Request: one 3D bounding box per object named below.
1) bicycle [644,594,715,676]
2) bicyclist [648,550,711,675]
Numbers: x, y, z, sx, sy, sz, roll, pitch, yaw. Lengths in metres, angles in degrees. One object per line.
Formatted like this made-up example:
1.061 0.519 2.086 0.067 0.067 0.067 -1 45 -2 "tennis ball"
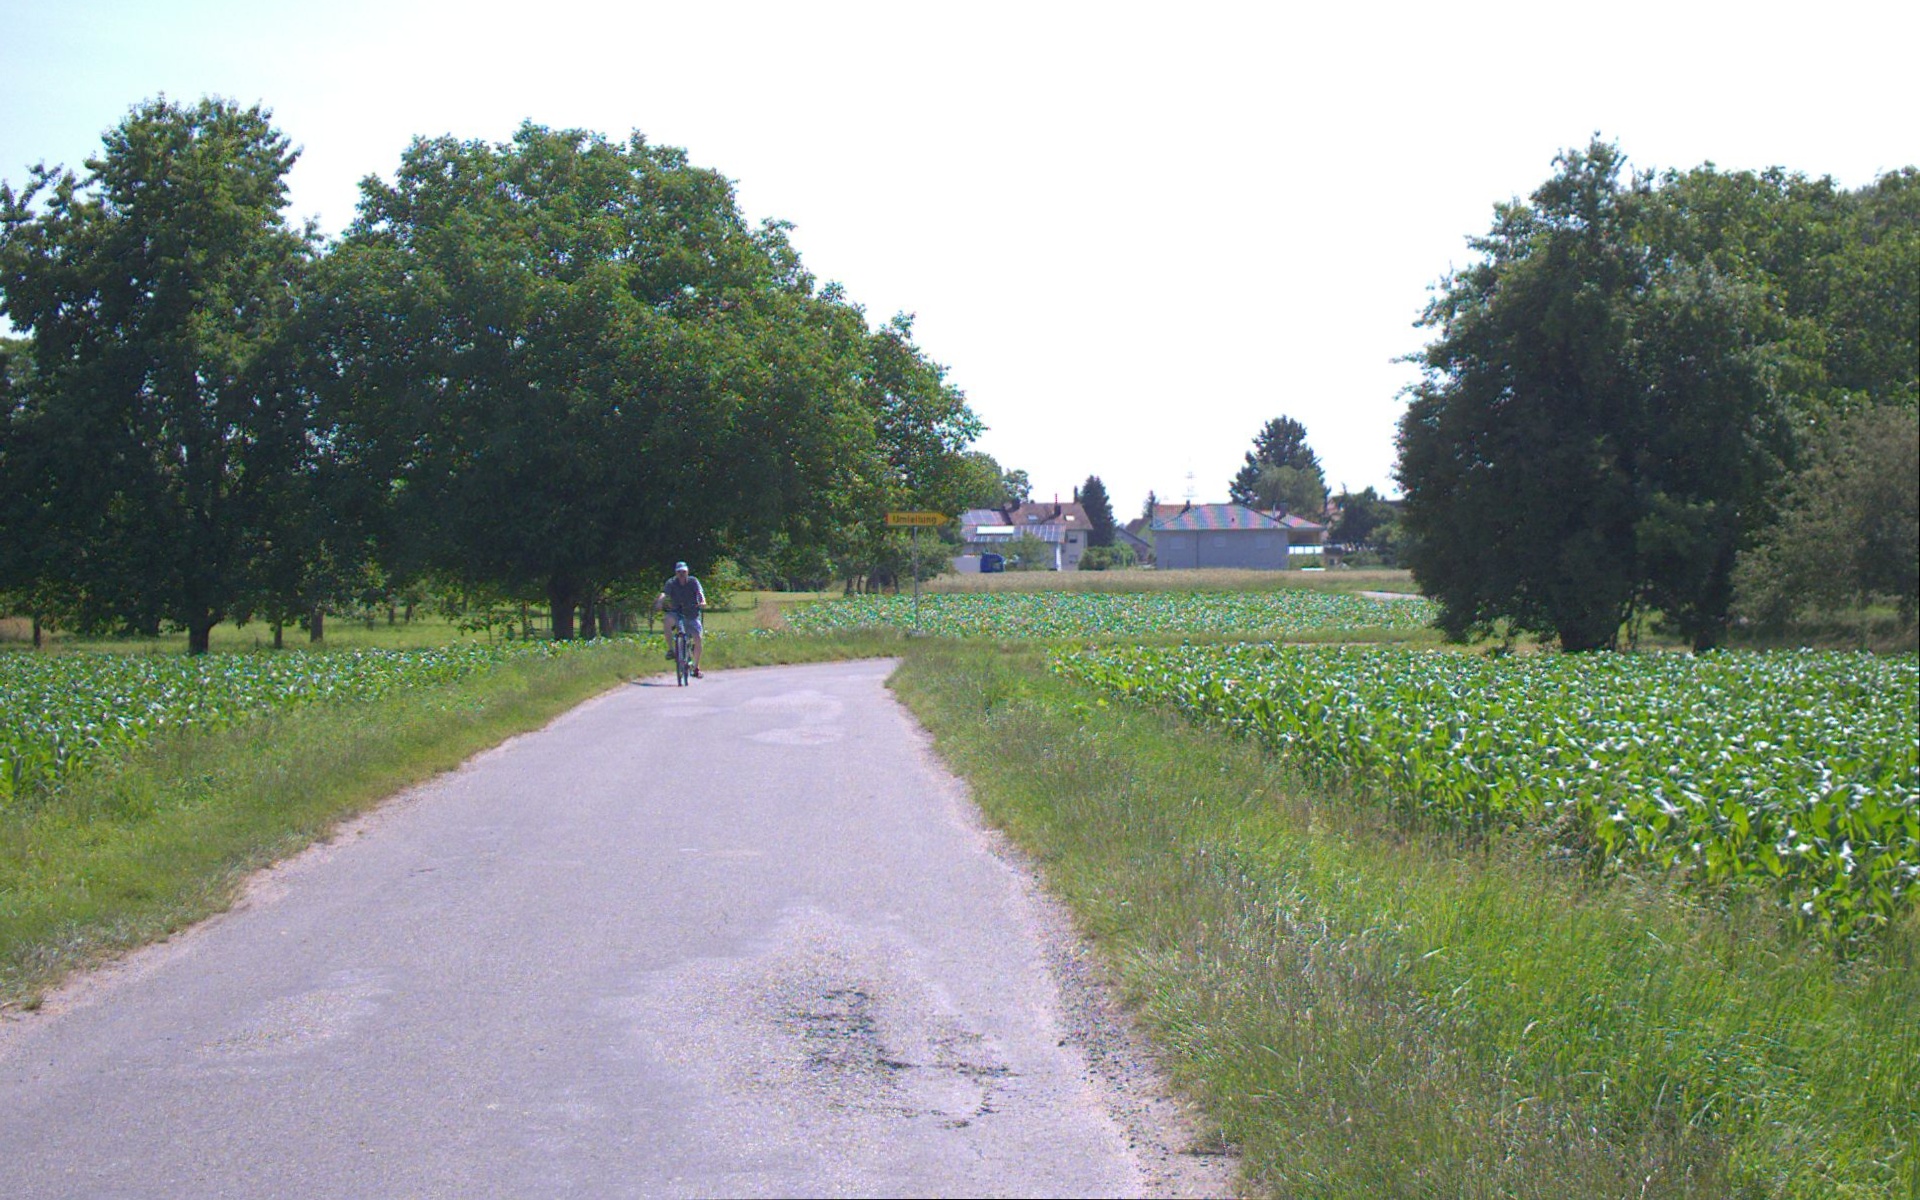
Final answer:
-4.058 0.497 49.883 0.750 1.123 1.908 -2 0 3 "bicycle"
-4.065 0.177 49.885 0.750 1.785 0.717 -2 0 3 "bicyclist"
